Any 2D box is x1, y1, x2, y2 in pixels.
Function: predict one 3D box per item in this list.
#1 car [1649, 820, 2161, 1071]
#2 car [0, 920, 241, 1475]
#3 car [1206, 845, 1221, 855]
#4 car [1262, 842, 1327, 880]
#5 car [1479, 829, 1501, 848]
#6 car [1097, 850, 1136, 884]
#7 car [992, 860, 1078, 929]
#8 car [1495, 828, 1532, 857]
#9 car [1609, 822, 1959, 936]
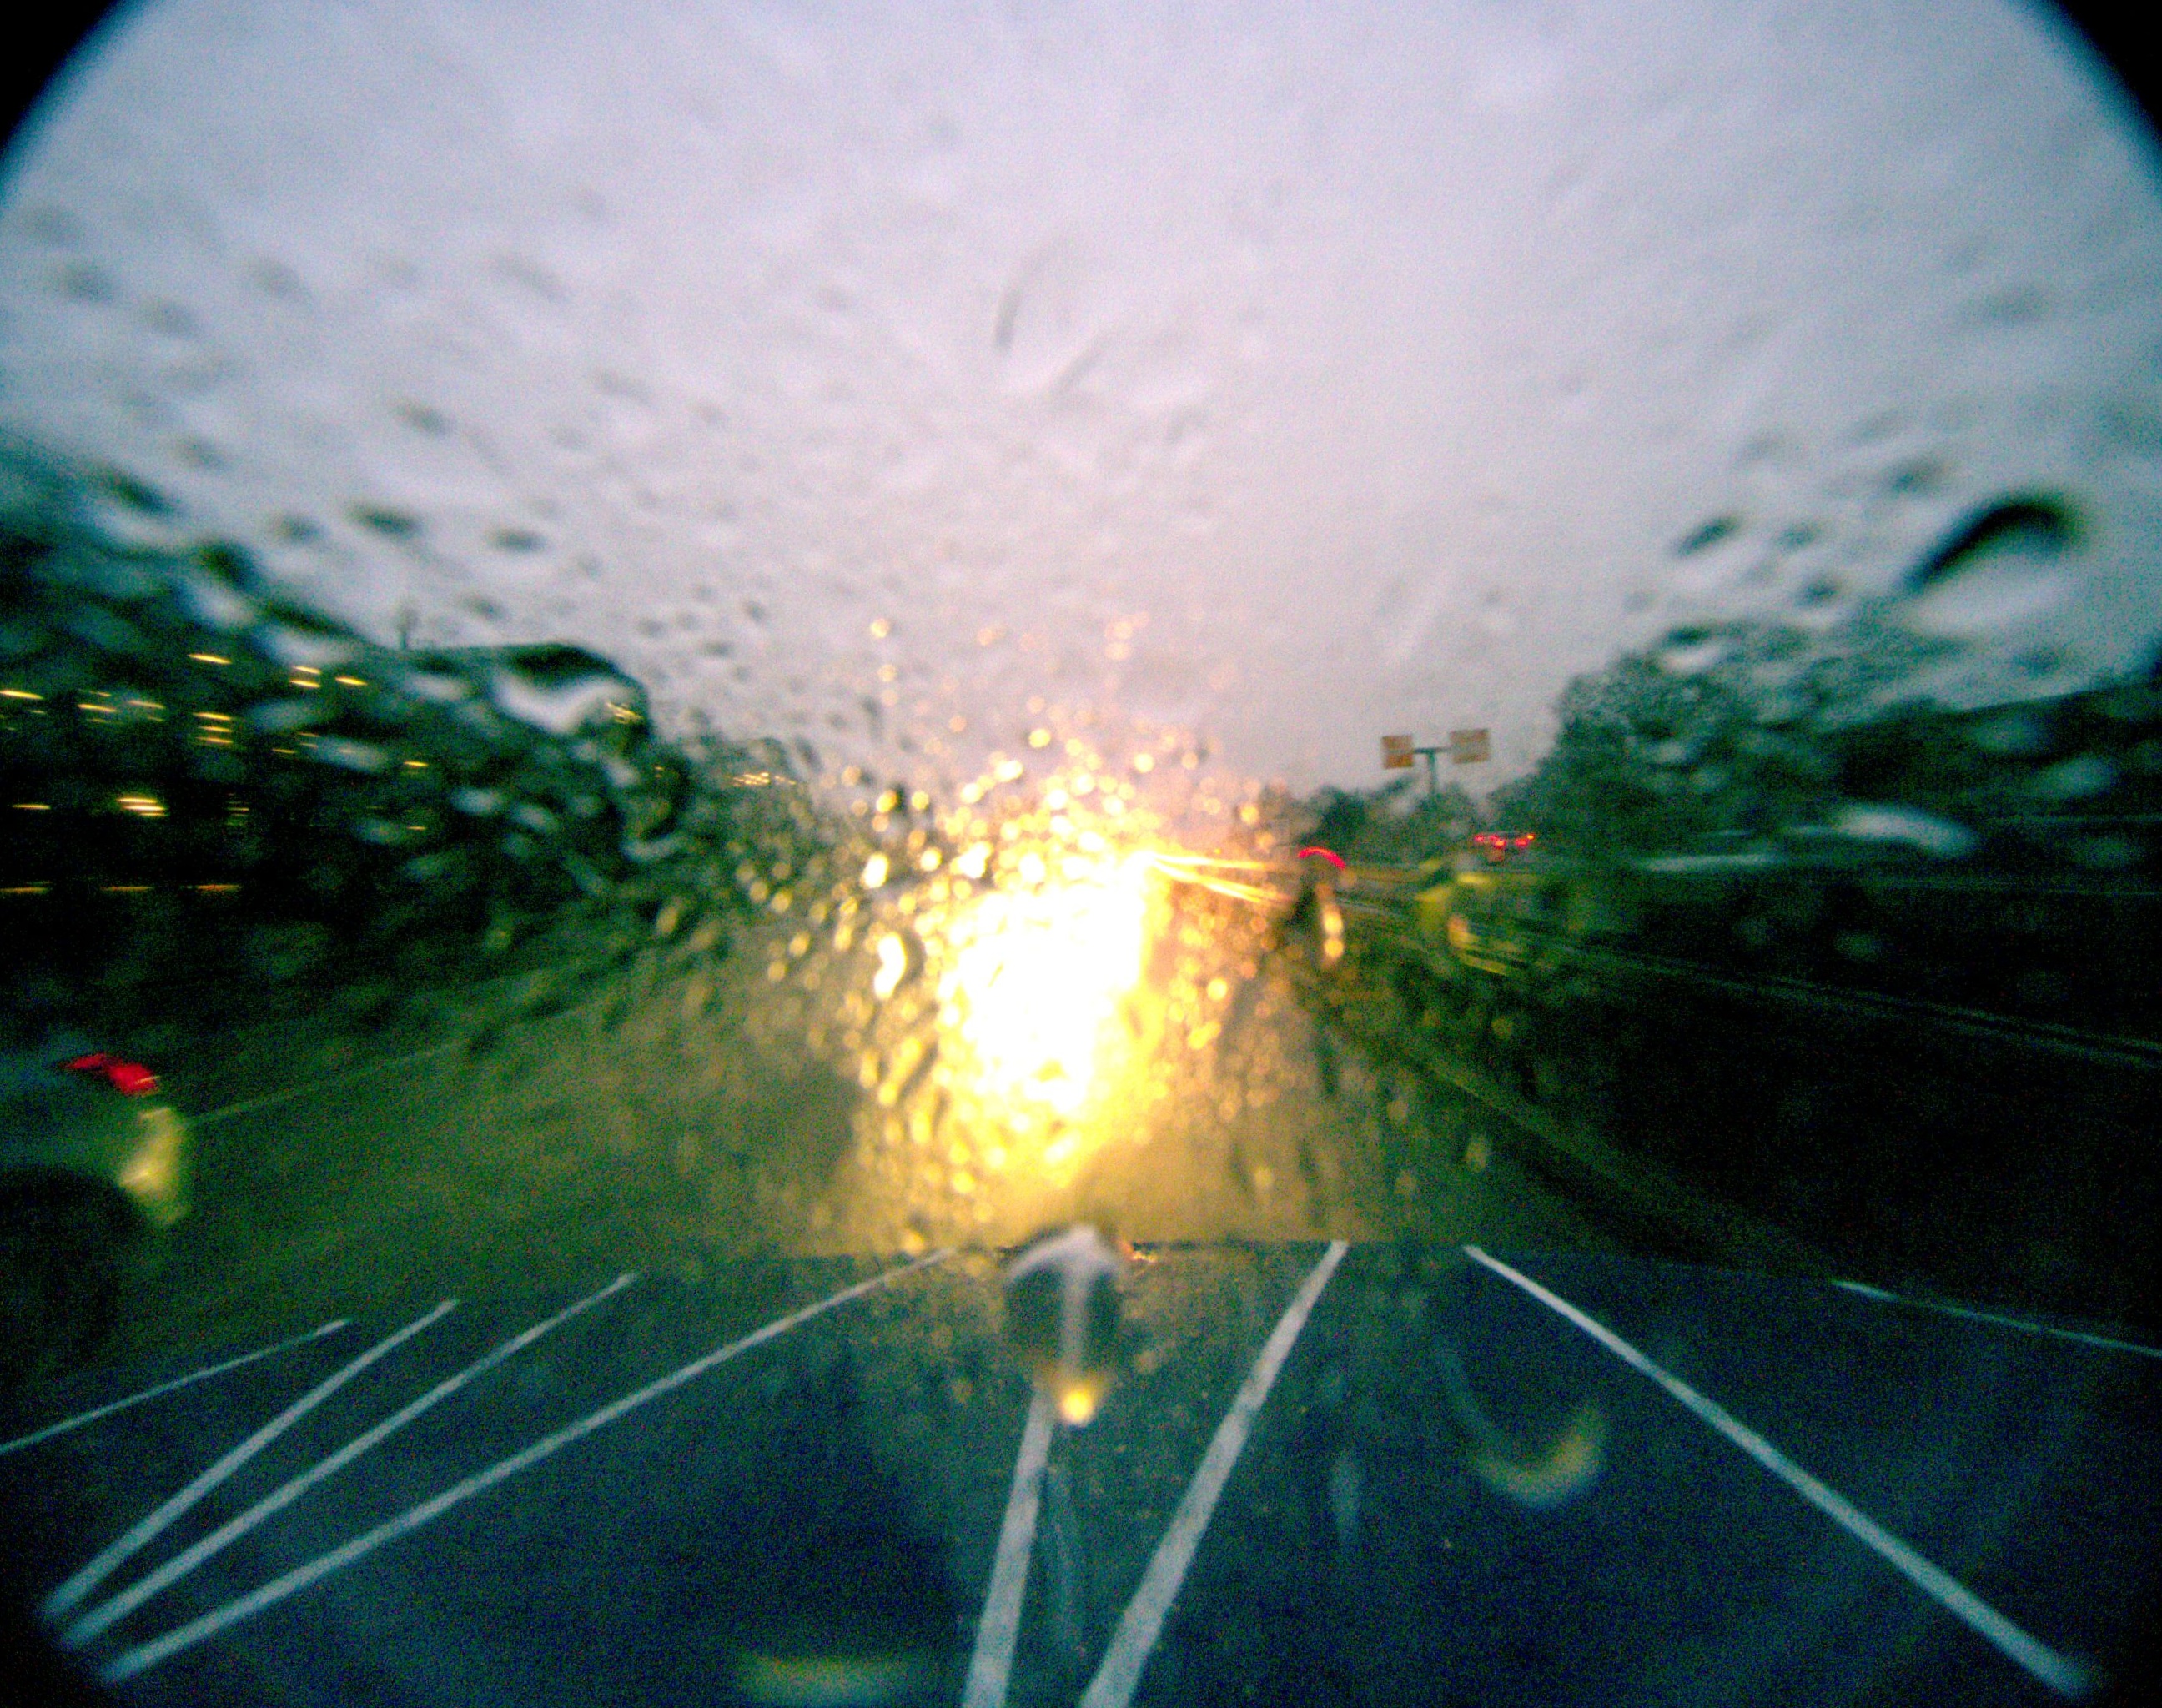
[{"bbox_3d":[7.333,0.519,6.423,1.620,1.475,4.599,-3,0,1],"label":"car"},{"bbox_3d":[-4.003,1.045,0.579,1.854,1.493,4.262,-3,0,1],"label":"car"},{"bbox_3d":[20.973,-0.659,120.596,1.841,1.547,4.356,-3,0,4],"label":"car"},{"bbox_3d":[9.210,0.274,33.036,1.741,1.486,3.843,-3,0,1],"label":"car"},{"bbox_3d":[44.058,-1.728,81.861,1.995,1.902,4.452,-3,1,28],"label":"car"},{"bbox_3d":[1.823,0.592,38.332,1.758,1.521,4.001,-3,0,4],"label":"car"},{"bbox_3d":[-1.039,0.926,19.021,1.594,1.445,4.177,-3,0,3],"label":"car"},{"bbox_3d":[31.126,-0.840,54.760,1.995,1.902,4.452,-3,1,26],"label":"car"},{"bbox_3d":[11.896,0.346,13.458,1.708,1.557,4.850,-3,0,1],"label":"car"}]
